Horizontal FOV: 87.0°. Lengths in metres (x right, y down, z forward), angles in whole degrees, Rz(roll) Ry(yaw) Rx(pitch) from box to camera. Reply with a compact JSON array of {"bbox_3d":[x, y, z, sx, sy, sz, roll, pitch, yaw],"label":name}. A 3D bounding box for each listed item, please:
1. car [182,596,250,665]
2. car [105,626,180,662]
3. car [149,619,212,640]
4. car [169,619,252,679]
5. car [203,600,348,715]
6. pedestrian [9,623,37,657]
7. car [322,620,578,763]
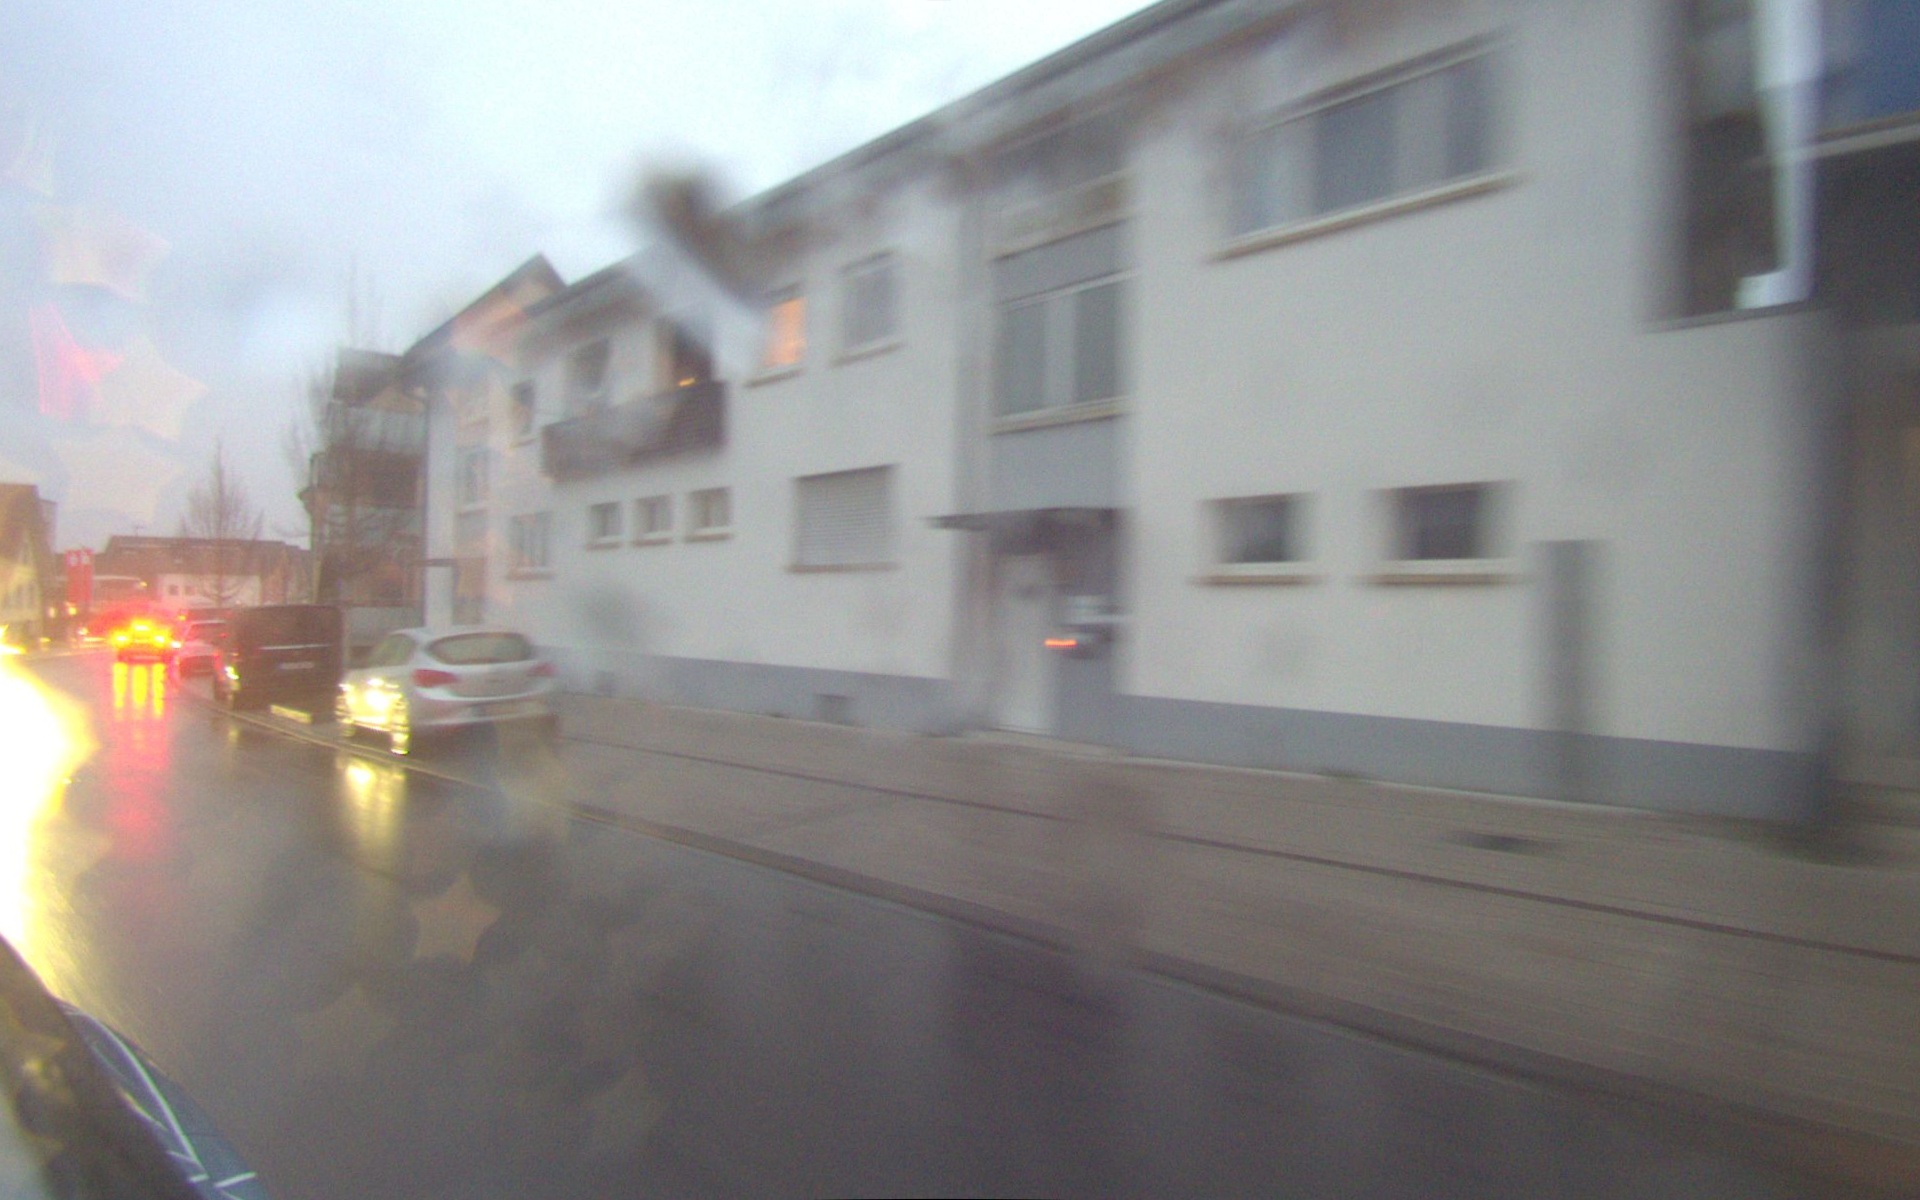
[{"bbox_3d":[-31.380,1.260,42.787,2.014,2.679,4.221,-2,0,-33],"label":"car"},{"bbox_3d":[-36.158,1.897,44.883,1.966,1.511,4.012,1,-1,-30],"label":"car"},{"bbox_3d":[-68.666,2.630,89.229,3.931,1.660,1.867,3,-4,-18],"label":"car"},{"bbox_3d":[-23.567,1.500,31.949,1.909,1.682,4.352,-2,0,-35],"label":"car"},{"bbox_3d":[-13.437,1.056,19.727,1.856,1.914,4.842,-1,-1,-40],"label":"car"},{"bbox_3d":[-46.742,1.995,50.491,0.641,1.674,0.650,1,-4,1],"label":"pedestrian"},{"bbox_3d":[-6.705,1.028,13.048,1.773,1.467,4.399,-1,0,-43],"label":"car"}]
